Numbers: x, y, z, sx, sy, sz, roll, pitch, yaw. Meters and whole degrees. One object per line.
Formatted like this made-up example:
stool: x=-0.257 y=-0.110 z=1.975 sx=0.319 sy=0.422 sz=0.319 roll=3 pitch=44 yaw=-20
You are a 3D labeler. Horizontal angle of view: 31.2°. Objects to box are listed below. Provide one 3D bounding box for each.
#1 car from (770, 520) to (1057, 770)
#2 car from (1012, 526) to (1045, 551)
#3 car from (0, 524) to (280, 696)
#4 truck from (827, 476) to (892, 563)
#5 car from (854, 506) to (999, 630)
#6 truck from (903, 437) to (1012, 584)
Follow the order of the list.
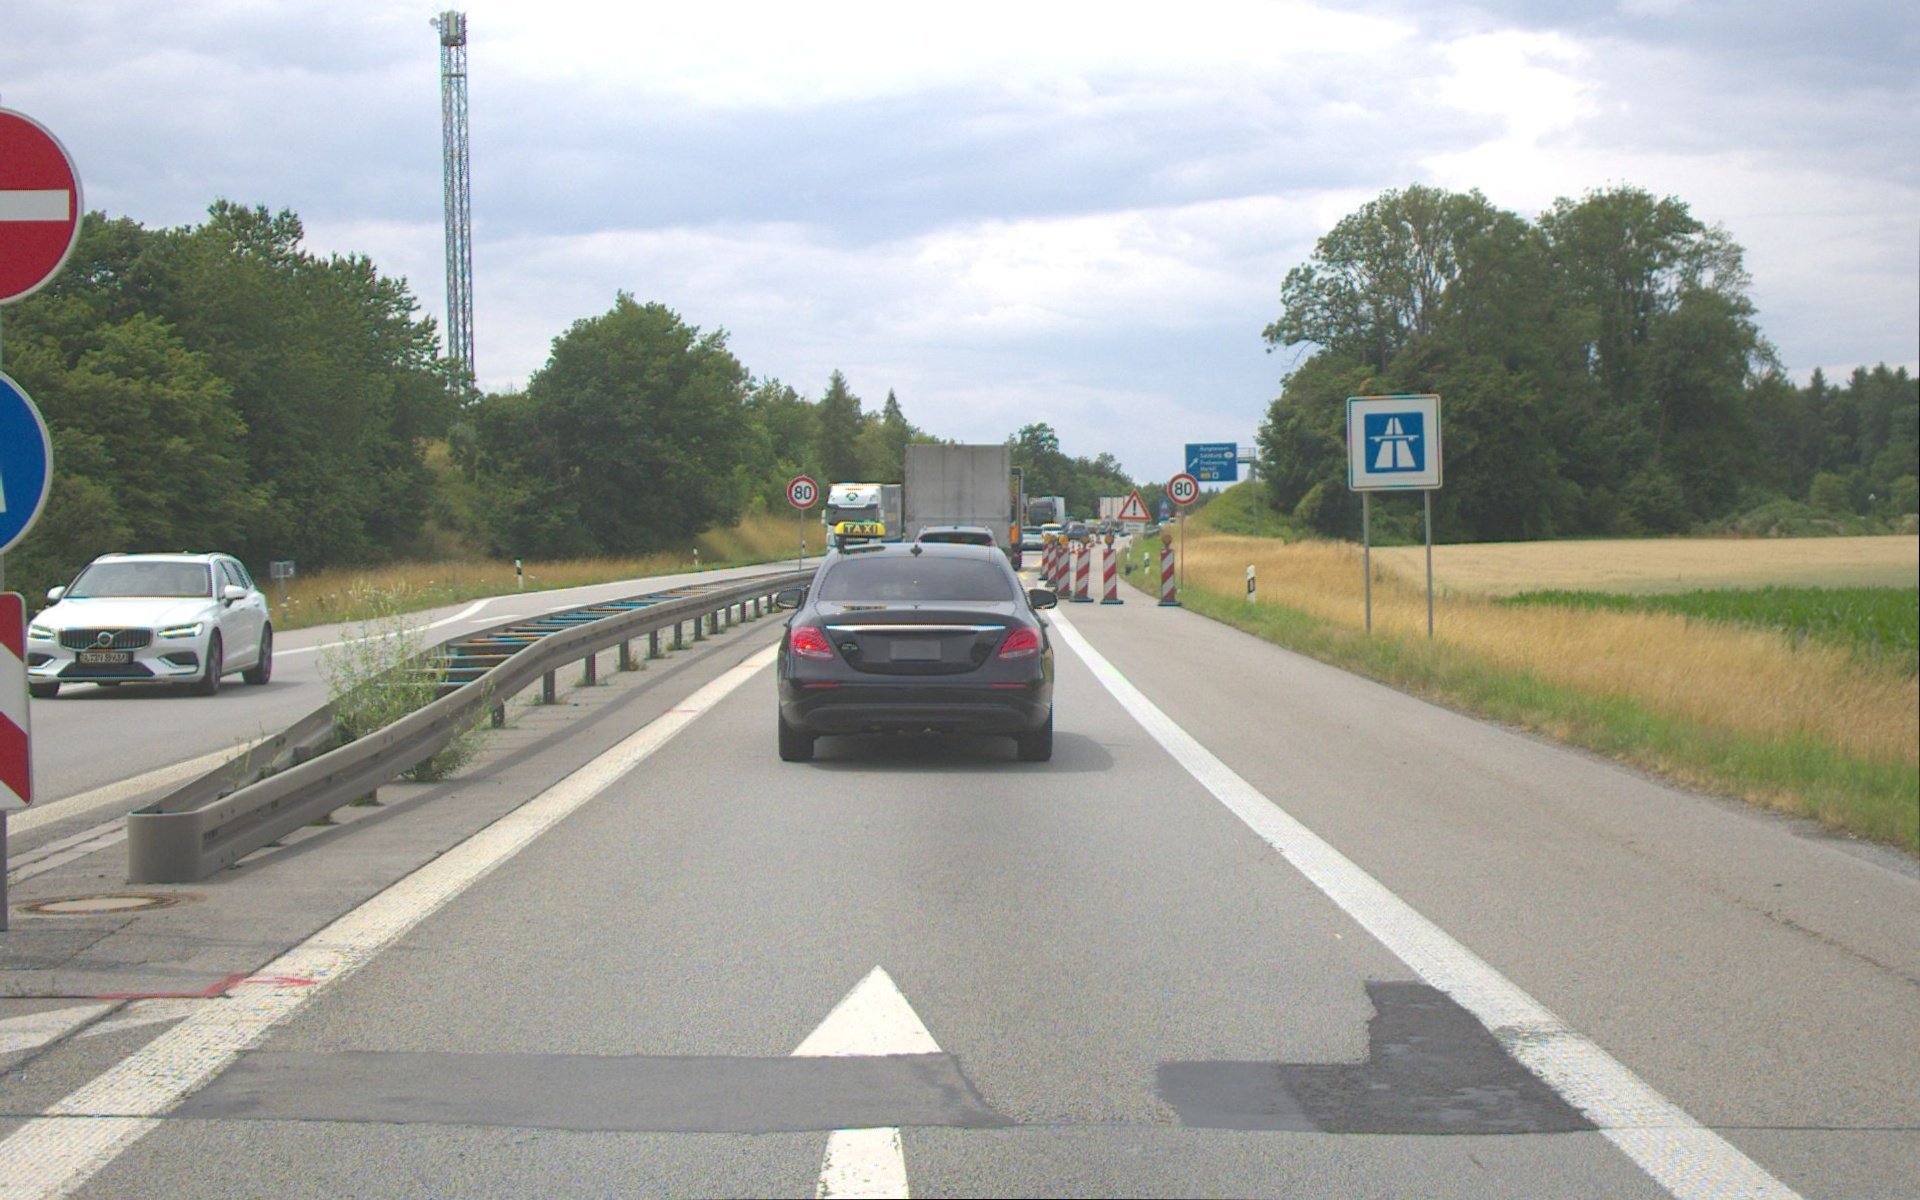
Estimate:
car: x=-0.304 y=0.267 z=23.777 sx=1.795 sy=1.554 sz=4.000 roll=1 pitch=1 yaw=0
car: x=3.959 y=-3.557 z=199.550 sx=1.649 sy=1.391 sz=3.706 roll=1 pitch=1 yaw=-3
car: x=-8.332 y=0.074 z=35.311 sx=1.817 sy=1.627 sz=4.602 roll=1 pitch=1 yaw=-1
truck: x=-4.909 y=-3.925 z=169.420 sx=2.799 sy=4.128 sz=7.228 roll=1 pitch=0 yaw=1
car: x=-0.605 y=-0.545 z=58.407 sx=1.993 sy=2.007 sz=4.001 roll=1 pitch=1 yaw=-7
truck: x=-0.042 y=-2.178 z=85.412 sx=2.587 sy=3.512 sz=4.813 roll=1 pitch=0 yaw=0
